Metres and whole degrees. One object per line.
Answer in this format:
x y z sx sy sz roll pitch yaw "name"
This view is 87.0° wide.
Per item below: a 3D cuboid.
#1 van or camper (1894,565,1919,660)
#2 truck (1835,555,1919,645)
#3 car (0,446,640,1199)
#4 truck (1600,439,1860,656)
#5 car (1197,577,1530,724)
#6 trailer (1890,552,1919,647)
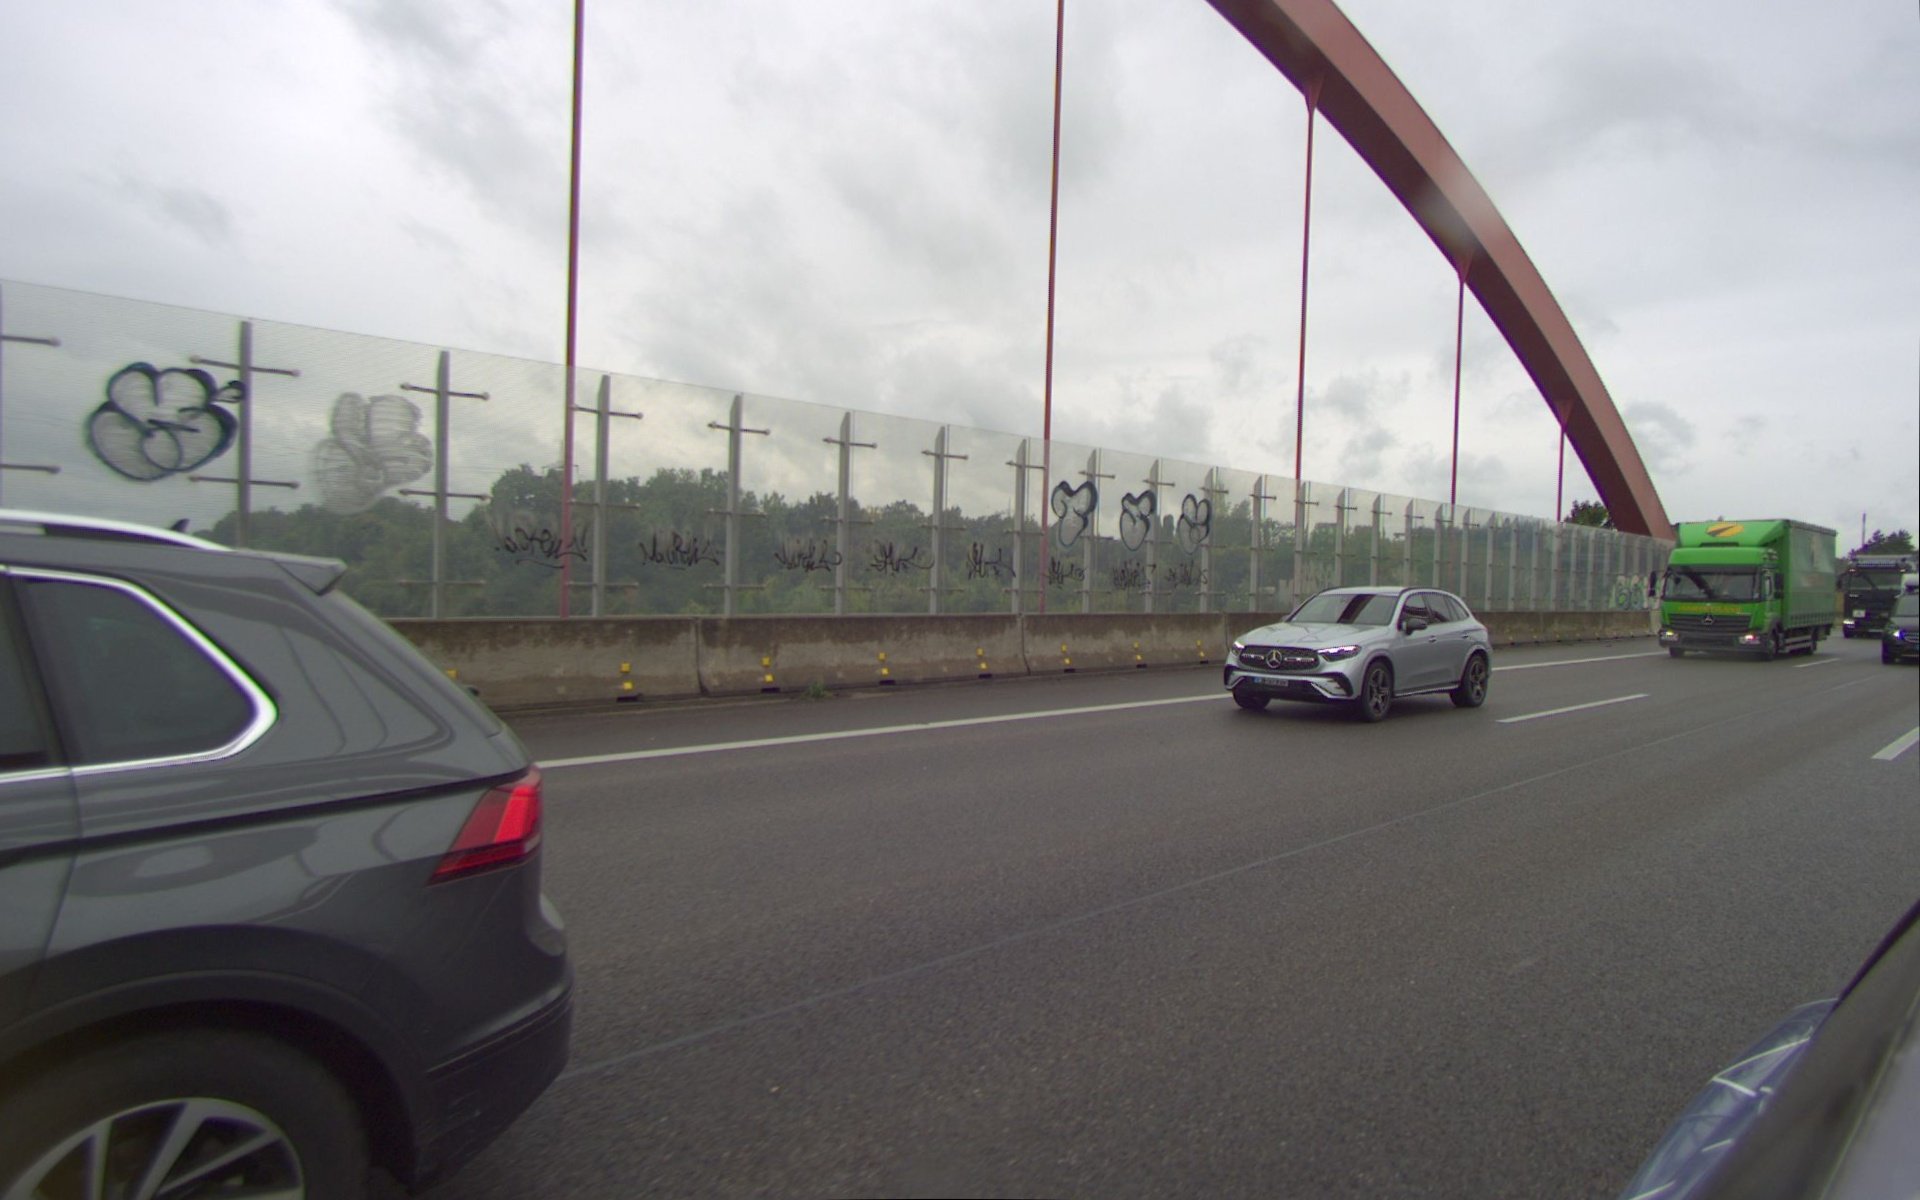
25.731 0.301 26.208 5.584 2.298 1.892 0 0 -43 "van or camper"
46.020 -0.072 50.064 12.501 3.999 2.816 0 2 -44 "truck"
-2.846 0.596 1.630 4.033 1.691 1.915 0 1 -41 "car"
23.119 -1.334 30.029 11.023 5.332 4.004 0 0 -41 "truck"
5.631 0.545 13.732 5.234 1.639 1.997 0 0 -40 "car"
30.526 0.029 30.619 7.380 2.675 2.726 0 1 -41 "trailer"
